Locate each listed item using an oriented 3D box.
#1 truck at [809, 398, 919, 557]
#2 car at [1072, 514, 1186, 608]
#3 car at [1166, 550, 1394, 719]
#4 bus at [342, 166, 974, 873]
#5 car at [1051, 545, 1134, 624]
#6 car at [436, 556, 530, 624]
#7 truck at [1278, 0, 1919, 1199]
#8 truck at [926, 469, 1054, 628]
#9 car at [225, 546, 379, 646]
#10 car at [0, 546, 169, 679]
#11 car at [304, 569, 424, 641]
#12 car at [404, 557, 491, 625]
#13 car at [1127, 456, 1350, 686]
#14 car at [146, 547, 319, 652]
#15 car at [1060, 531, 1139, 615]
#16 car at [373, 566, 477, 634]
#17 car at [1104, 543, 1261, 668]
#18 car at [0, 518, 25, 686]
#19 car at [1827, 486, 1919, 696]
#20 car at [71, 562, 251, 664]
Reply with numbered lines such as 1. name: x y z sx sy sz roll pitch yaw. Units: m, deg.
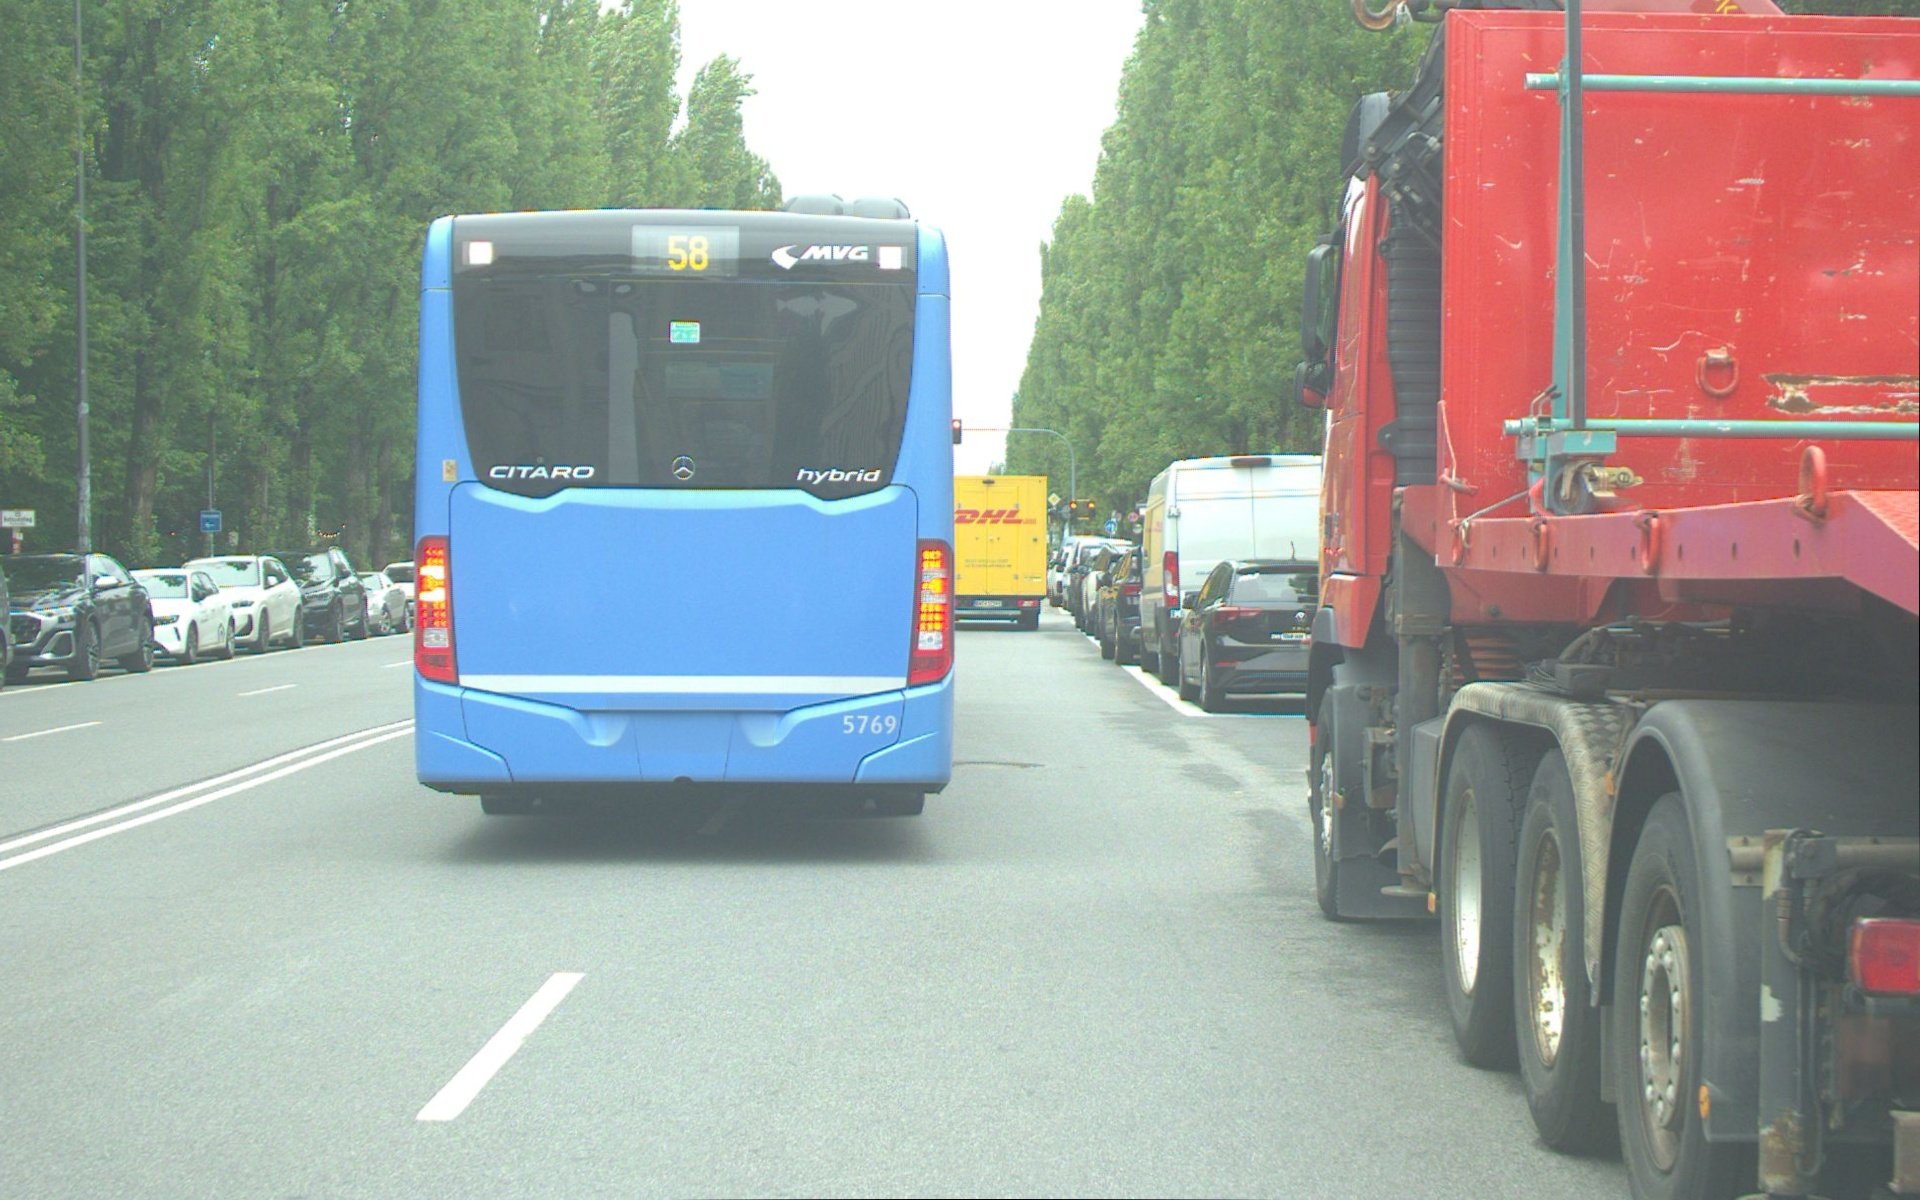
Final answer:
1. truck: -2.521 -3.119 90.066 2.715 3.952 9.219 0 1 -2
2. car: 2.998 -0.705 61.774 1.781 1.576 4.147 2 1 0
3. car: 3.005 0.283 33.001 1.754 1.445 4.000 2 1 0
4. bus: -1.539 -0.434 20.174 2.855 3.202 9.061 0 1 -2
5. car: 3.506 -0.444 91.923 2.052 2.007 5.692 0 1 1
6. car: -11.952 -0.265 86.320 1.814 1.637 4.000 0 1 0
7. truck: 2.730 -0.248 10.075 2.713 3.099 10.426 0 1 1
8. truck: 0.524 -0.988 66.212 2.327 2.888 7.333 0 1 0
9. car: -11.879 -0.107 62.343 1.880 1.653 4.718 -3 1 -1
10. car: -11.900 0.147 45.071 1.815 1.603 5.053 -3 1 0
11. car: -11.854 0.082 68.563 1.580 1.300 4.029 -2 1 1
12. car: -12.100 -0.227 81.327 1.743 1.513 4.119 -2 1 -5
13. car: 3.175 -0.364 40.472 2.074 2.470 6.284 1 1 0
14. car: -12.042 -0.039 57.143 1.785 1.583 4.461 -2 1 1
15. car: 3.388 -0.672 83.874 1.806 1.969 4.236 0 1 1
16. car: -11.889 -0.027 76.534 1.685 1.408 4.005 -2 1 -1
17. car: 2.969 0.043 46.545 1.821 1.585 4.223 1 1 0
18. car: -12.123 0.084 38.315 1.993 1.950 4.937 -2 1 0
19. car: 9.891 -0.100 32.852 1.993 1.939 5.083 0 1 1
20. car: -11.983 0.161 51.792 1.676 1.417 4.237 -2 1 0
